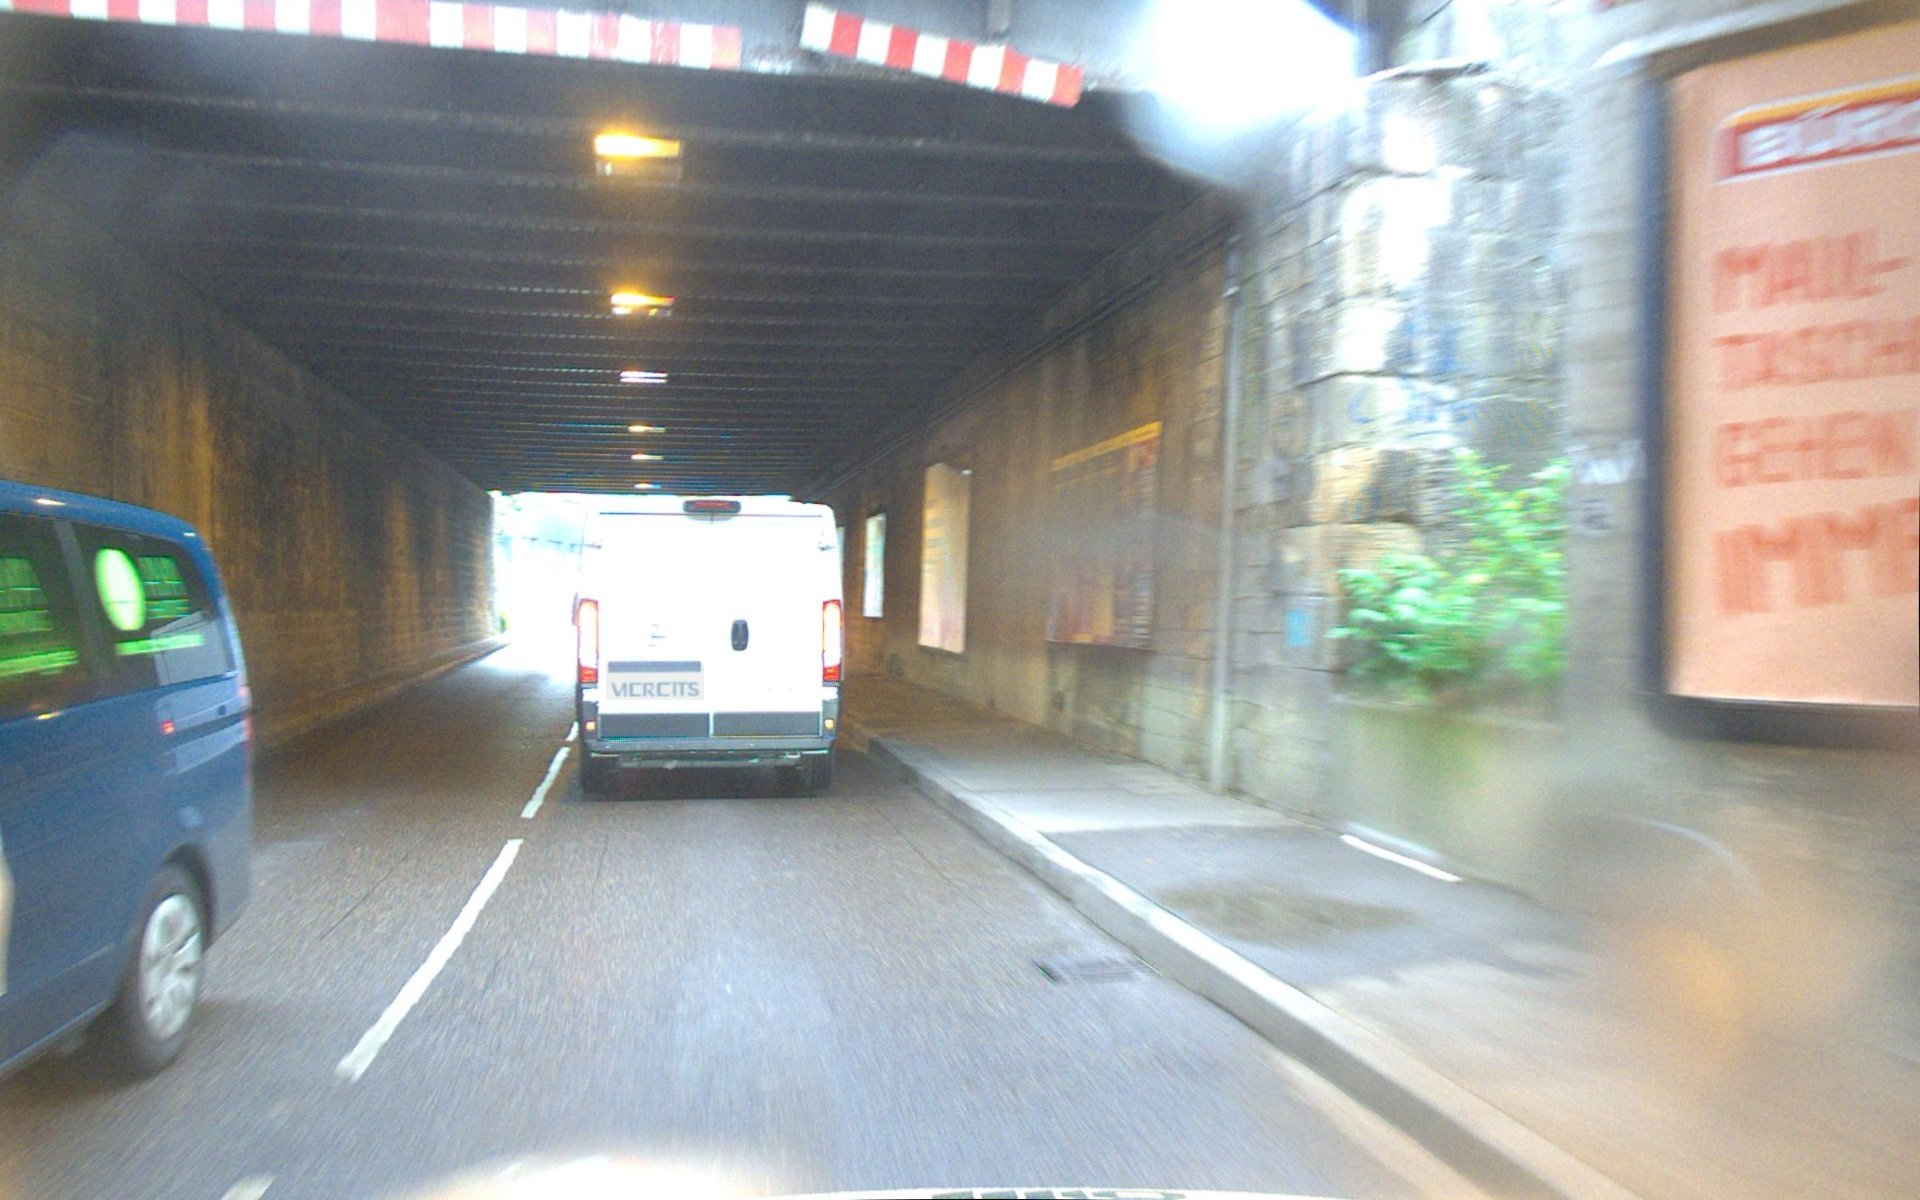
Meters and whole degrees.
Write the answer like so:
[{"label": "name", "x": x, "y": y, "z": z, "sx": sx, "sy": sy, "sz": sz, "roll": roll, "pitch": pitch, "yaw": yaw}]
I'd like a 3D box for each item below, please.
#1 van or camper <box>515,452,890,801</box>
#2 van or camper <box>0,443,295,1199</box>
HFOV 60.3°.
[{"label": "van or camper", "x": -2.235, "y": 0.263, "z": 14.298, "sx": 2.649, "sy": 2.459, "sz": 4.891, "roll": 0, "pitch": -2, "yaw": -10}, {"label": "van or camper", "x": -3.264, "y": 0.577, "z": 3.665, "sx": 1.955, "sy": 1.901, "sz": 5.132, "roll": 0, "pitch": -1, "yaw": -6}]
